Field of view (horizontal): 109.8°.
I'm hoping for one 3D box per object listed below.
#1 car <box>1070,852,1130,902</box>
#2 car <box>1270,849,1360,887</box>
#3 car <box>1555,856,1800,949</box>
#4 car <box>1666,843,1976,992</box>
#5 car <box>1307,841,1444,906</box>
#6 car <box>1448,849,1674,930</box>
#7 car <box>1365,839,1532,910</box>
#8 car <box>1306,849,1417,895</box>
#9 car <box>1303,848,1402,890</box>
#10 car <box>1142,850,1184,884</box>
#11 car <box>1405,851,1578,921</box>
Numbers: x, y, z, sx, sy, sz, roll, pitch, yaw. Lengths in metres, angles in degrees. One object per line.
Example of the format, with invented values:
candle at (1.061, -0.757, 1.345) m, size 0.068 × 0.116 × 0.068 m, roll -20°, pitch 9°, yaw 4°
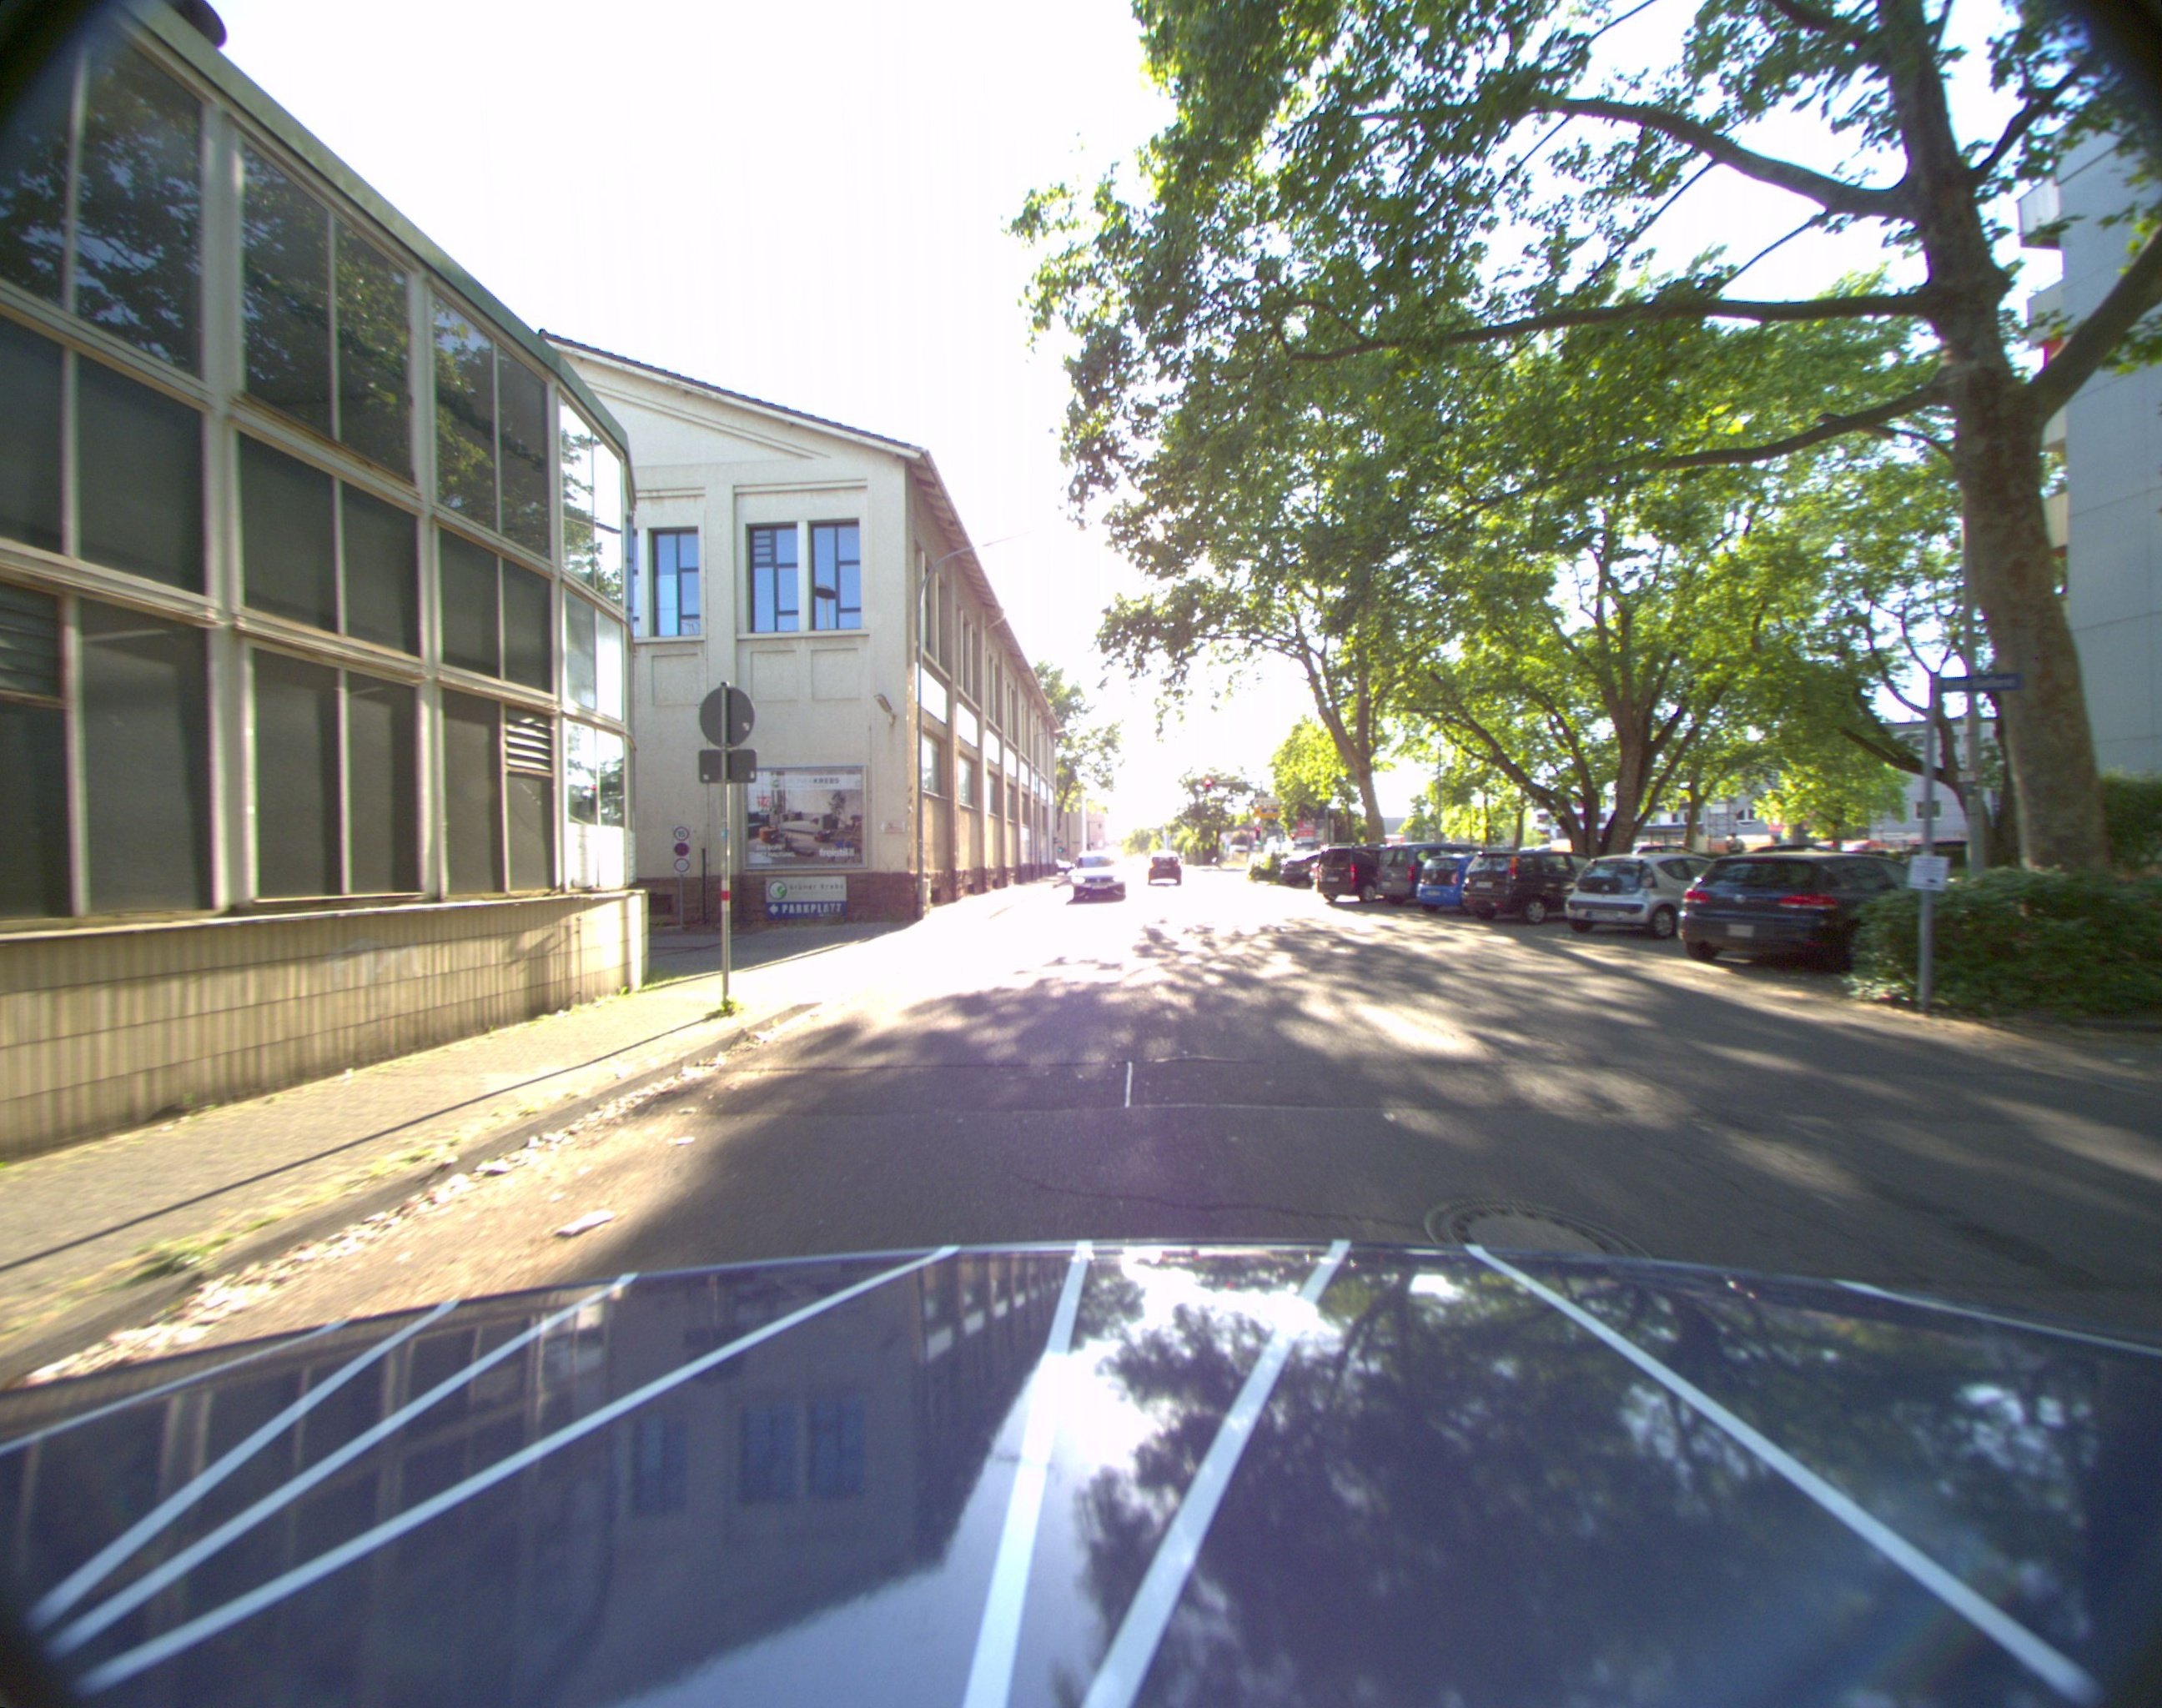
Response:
car at (0.645, 0.725, 26.141) m, size 1.854 × 1.527 × 3.857 m, roll -2°, pitch 0°, yaw 1°
car at (10.838, 0.616, 35.107) m, size 4.006 × 1.633 × 1.713 m, roll -1°, pitch 1°, yaw -31°
car at (10.755, 0.801, 13.758) m, size 3.652 × 1.453 × 1.703 m, roll -1°, pitch 1°, yaw -17°
car at (9.862, 0.718, 10.140) m, size 3.654 × 1.652 × 1.647 m, roll -1°, pitch 1°, yaw -22°
car at (9.420, 0.570, 24.284) m, size 4.004 × 1.875 × 1.714 m, roll -1°, pitch 1°, yaw -23°
car at (10.335, 0.707, 16.475) m, size 4.001 × 1.615 × 1.796 m, roll 0°, pitch 0°, yaw -11°
car at (10.438, 0.538, 21.669) m, size 4.001 × 1.871 × 1.832 m, roll -1°, pitch 1°, yaw -12°
car at (10.871, 0.642, 29.394) m, size 4.005 × 1.633 × 1.713 m, roll -1°, pitch 1°, yaw -25°
car at (11.554, 0.605, 32.299) m, size 4.006 × 1.633 × 1.713 m, roll -1°, pitch 1°, yaw -28°
car at (4.239, 0.633, 39.741) m, size 1.964 × 1.633 × 4.001 m, roll -1°, pitch 0°, yaw 4°
car at (10.144, 0.744, 18.832) m, size 3.602 × 1.551 × 1.648 m, roll -1°, pitch 1°, yaw -14°
